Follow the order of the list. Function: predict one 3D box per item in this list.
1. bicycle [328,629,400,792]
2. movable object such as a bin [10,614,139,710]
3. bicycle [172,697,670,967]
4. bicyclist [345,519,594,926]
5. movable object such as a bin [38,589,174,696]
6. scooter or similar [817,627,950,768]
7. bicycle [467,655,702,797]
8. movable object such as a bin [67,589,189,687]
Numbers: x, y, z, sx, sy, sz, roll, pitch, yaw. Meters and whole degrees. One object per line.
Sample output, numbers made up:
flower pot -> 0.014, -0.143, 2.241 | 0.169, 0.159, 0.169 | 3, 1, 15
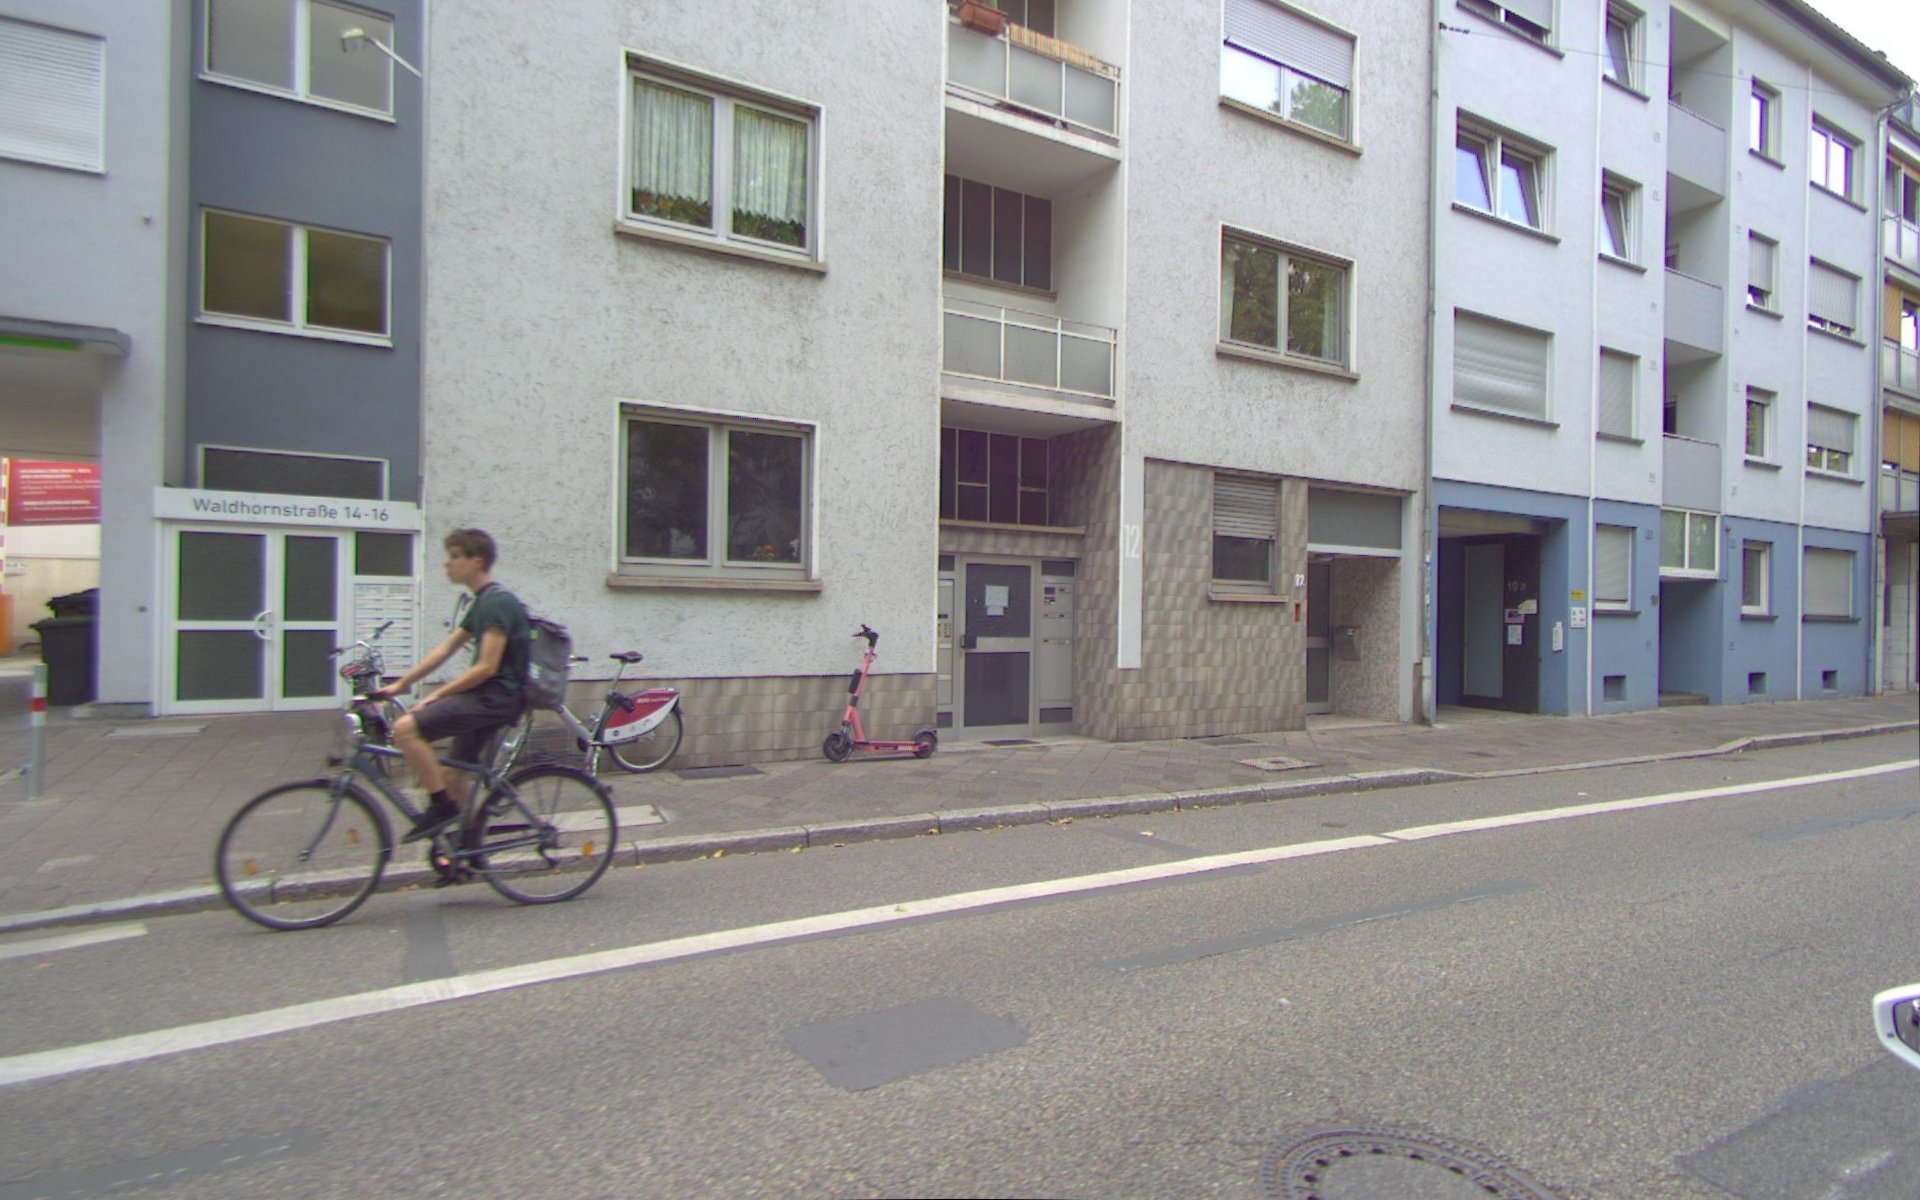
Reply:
bicycle -> -4.888, 0.842, 8.293 | 0.447, 1.132, 1.763 | 1, 0, -29
movable object such as a bin -> -10.892, 0.740, 12.401 | 0.962, 1.121, 0.941 | 1, -1, -27
bicycle -> -2.564, 1.047, 5.010 | 2.052, 1.028, 0.643 | 1, -1, -30
bicyclist -> -2.461, 0.569, 5.075 | 1.033, 1.834, 0.649 | 2, -2, -30
movable object such as a bin -> -11.583, 0.566, 13.677 | 1.162, 1.370, 1.039 | 1, -1, -27
scooter or similar -> -0.706, 0.885, 9.386 | 1.187, 1.238, 0.348 | 1, 1, -30
bicycle -> -2.928, 0.940, 7.878 | 1.643, 0.963, 0.594 | 1, 0, -30
movable object such as a bin -> -12.284, 0.551, 14.884 | 1.162, 1.370, 1.039 | 1, -1, -27
